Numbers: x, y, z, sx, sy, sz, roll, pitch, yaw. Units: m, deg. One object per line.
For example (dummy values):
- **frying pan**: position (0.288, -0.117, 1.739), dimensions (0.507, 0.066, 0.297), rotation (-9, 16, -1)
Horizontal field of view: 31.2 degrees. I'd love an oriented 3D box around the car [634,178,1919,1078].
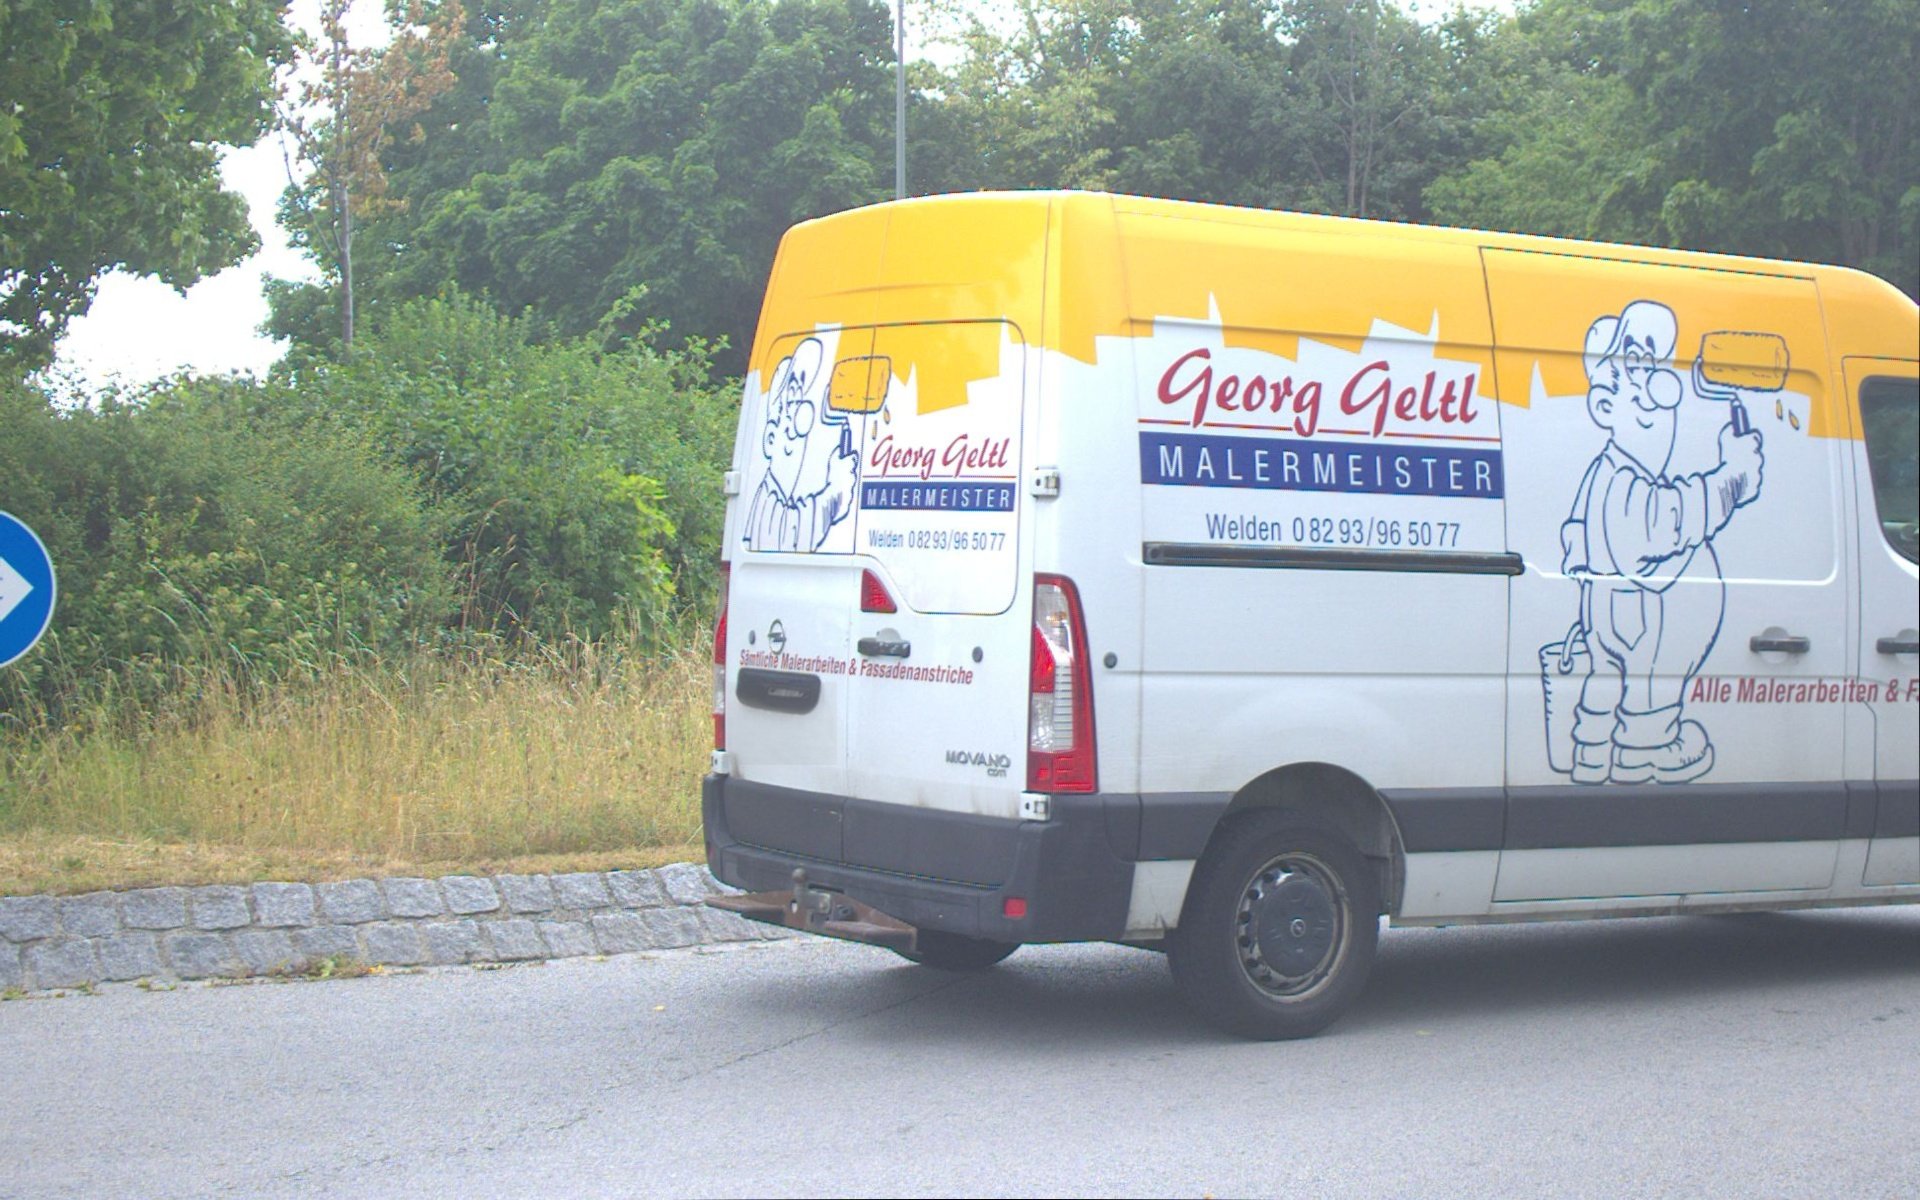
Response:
- **car**: position (1.829, 0.047, 11.707), dimensions (5.424, 2.443, 2.169), rotation (0, 2, -33)
